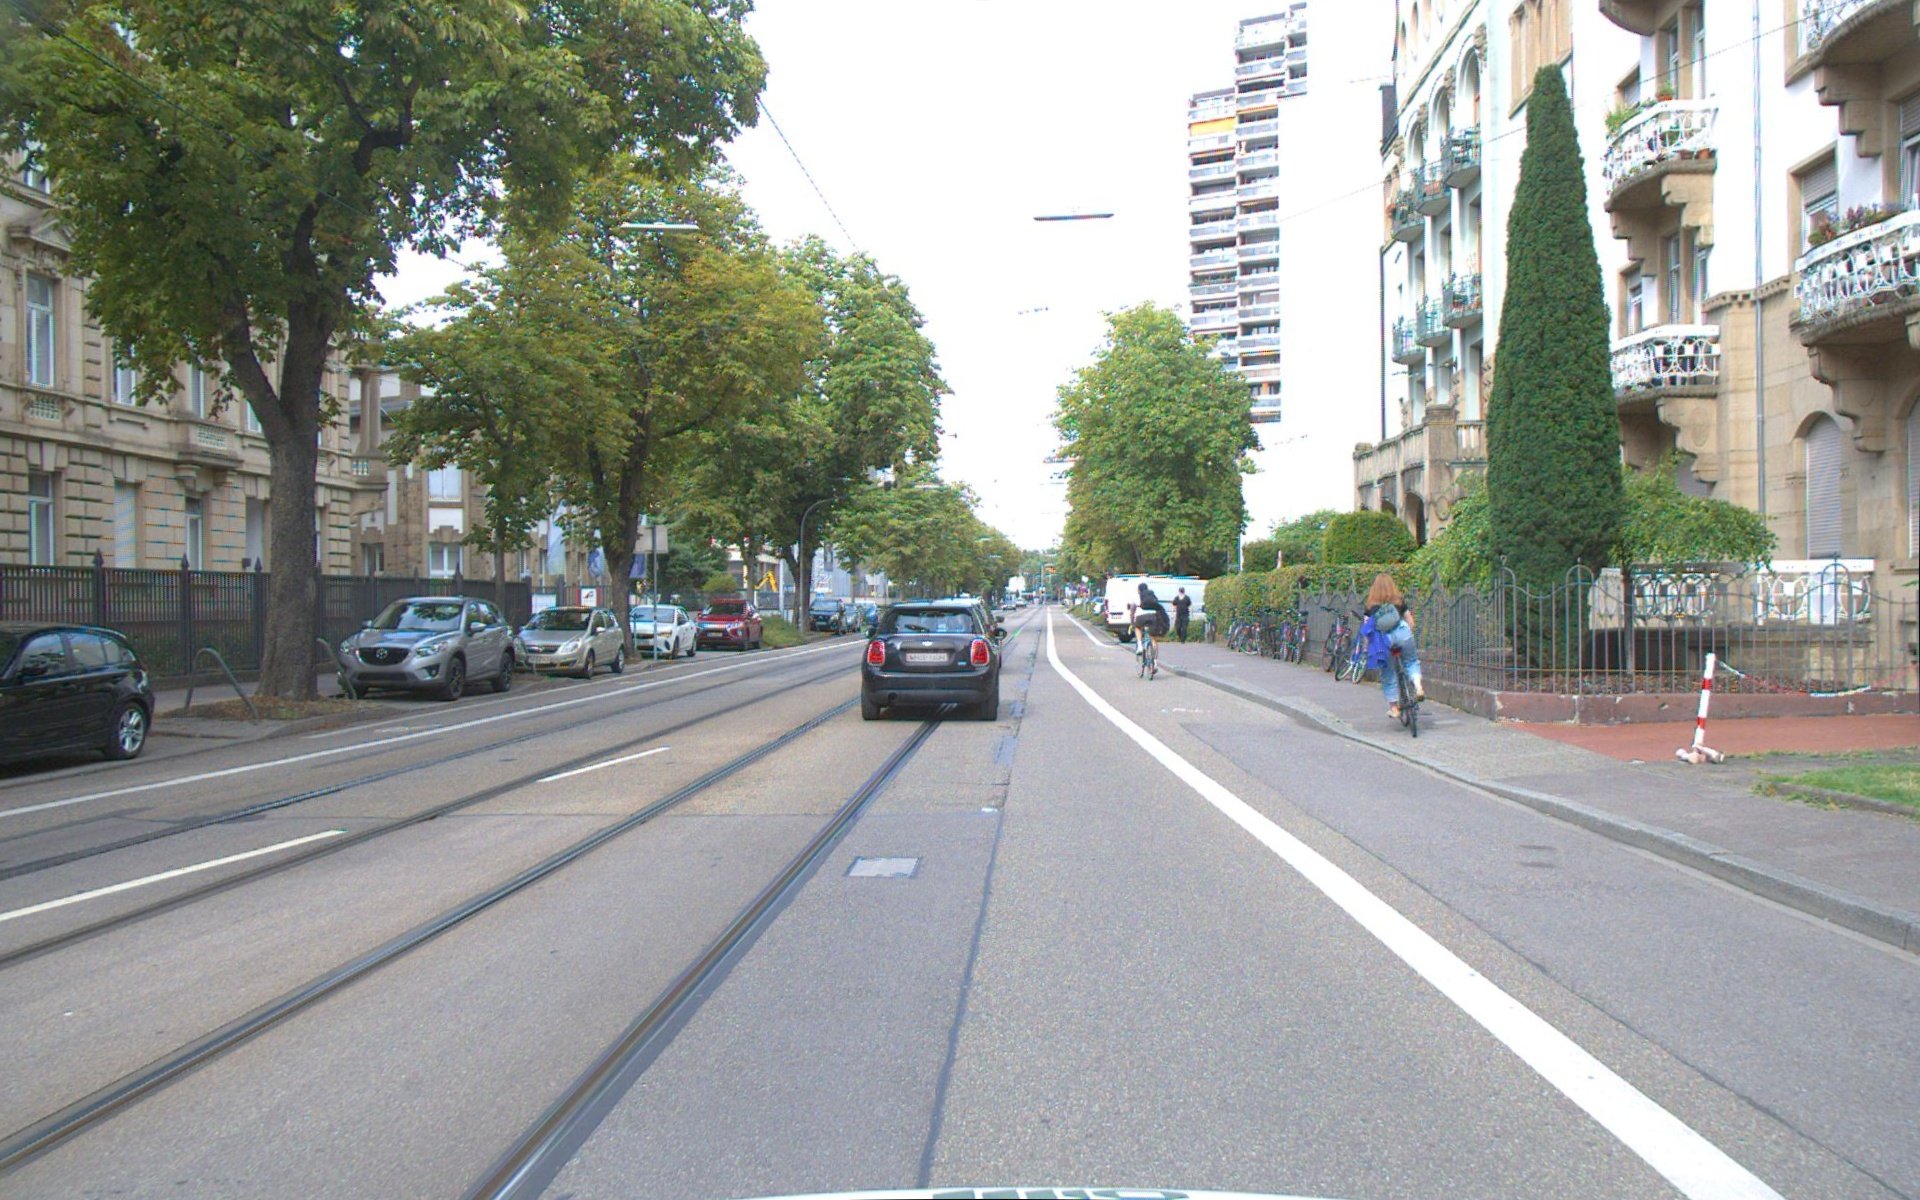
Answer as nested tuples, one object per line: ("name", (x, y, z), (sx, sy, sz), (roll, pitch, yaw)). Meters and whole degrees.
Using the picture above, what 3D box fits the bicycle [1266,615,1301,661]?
("bicycle", (6.765, 0.791, 34.611), (0.475, 0.923, 1.665), (-2, -1, 3))

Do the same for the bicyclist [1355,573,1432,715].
("bicyclist", (4.762, 0.472, 18.201), (0.634, 1.495, 0.801), (-3, 0, 5))

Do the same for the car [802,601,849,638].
("car", (-6.283, 0.913, 77.498), (1.719, 1.676, 4.053), (1, 0, 2))

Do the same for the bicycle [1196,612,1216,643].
("bicycle", (7.575, 0.851, 50.985), (0.378, 0.923, 1.842), (-1, -1, 1))

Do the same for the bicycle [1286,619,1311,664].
("bicycle", (6.708, 0.816, 32.799), (0.272, 0.867, 1.198), (-2, -1, 3))

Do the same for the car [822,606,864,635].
("car", (-5.935, 1.033, 84.265), (1.658, 1.452, 3.869), (1, 0, 2))

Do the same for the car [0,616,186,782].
("car", (-9.543, 0.923, 16.169), (1.684, 1.449, 4.168), (2, 0, 5))

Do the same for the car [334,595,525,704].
("car", (-8.881, 0.782, 28.069), (1.674, 1.703, 4.358), (0, 0, 3))

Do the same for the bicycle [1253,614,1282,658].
("bicycle", (6.761, 0.789, 36.399), (0.475, 0.923, 1.666), (-2, -1, 6))

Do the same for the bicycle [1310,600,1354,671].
("bicycle", (6.422, 0.592, 28.591), (0.383, 1.162, 1.921), (-2, 0, 3))

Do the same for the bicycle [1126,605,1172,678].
("bicycle", (3.427, 0.731, 30.141), (0.643, 1.271, 2.125), (0, 0, 2))

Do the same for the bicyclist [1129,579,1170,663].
("bicyclist", (3.442, 0.379, 30.152), (0.644, 1.489, 1.179), (0, 0, 2))

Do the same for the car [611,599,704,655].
("car", (-8.414, 0.737, 46.317), (1.685, 1.448, 4.024), (2, 0, 2))

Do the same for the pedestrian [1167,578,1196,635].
("pedestrian", (7.051, 0.210, 52.744), (0.769, 1.763, 0.896), (-3, 0, 2))

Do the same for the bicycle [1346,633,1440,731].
("bicycle", (4.787, 0.882, 18.410), (0.674, 0.979, 2.038), (-1, 0, 5))

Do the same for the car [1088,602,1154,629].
("car", (9.053, 0.896, 92.777), (3.800, 1.485, 1.614), (1, -1, -44))

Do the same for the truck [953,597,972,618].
("truck", (0.289, 0.927, 203.754), (2.028, 2.513, 4.900), (-1, -1, 2))

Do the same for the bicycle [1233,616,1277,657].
("bicycle", (6.817, 0.839, 38.312), (0.476, 0.923, 1.662), (-1, -1, -8))

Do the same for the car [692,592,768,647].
("car", (-7.592, 0.631, 54.996), (1.685, 1.684, 4.543), (2, 0, 2))

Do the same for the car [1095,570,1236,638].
("car", (7.420, 0.171, 59.462), (4.913, 2.330, 2.350), (1, -1, -40))

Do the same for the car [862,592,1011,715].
("car", (-0.255, 0.639, 21.505), (1.756, 1.448, 4.000), (0, 0, 1))

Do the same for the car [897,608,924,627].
("car", (-3.891, 1.372, 130.162), (1.765, 1.398, 4.032), (-2, 0, 2))

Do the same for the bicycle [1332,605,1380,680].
("bicycle", (6.185, 0.647, 25.883), (0.383, 1.122, 1.760), (-2, 0, 3))

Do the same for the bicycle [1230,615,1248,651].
("bicycle", (7.198, 0.844, 42.731), (0.378, 0.923, 1.666), (-2, -1, 7))

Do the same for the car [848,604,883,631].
("car", (-5.482, 1.017, 96.533), (1.658, 1.513, 3.678), (1, 0, 2))

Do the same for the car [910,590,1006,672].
("car", (-0.039, 0.595, 33.026), (1.757, 1.496, 4.000), (1, 0, 0))

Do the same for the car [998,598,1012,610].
("car", (6.557, 0.607, 239.582), (1.856, 1.657, 4.000), (0, 0, 0))

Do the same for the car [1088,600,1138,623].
("car", (11.043, 0.808, 119.358), (3.409, 1.600, 1.540), (0, 0, -36))

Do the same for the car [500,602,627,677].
("car", (-8.398, 0.801, 35.379), (1.567, 1.494, 4.080), (0, 0, 3))

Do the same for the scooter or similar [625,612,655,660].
("scooter or similar", (-8.408, 0.930, 43.417), (0.553, 1.244, 1.315), (0, 0, -20))

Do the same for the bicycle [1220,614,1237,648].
("bicycle", (7.428, 0.848, 45.715), (0.378, 0.923, 1.666), (-2, -1, 7))
